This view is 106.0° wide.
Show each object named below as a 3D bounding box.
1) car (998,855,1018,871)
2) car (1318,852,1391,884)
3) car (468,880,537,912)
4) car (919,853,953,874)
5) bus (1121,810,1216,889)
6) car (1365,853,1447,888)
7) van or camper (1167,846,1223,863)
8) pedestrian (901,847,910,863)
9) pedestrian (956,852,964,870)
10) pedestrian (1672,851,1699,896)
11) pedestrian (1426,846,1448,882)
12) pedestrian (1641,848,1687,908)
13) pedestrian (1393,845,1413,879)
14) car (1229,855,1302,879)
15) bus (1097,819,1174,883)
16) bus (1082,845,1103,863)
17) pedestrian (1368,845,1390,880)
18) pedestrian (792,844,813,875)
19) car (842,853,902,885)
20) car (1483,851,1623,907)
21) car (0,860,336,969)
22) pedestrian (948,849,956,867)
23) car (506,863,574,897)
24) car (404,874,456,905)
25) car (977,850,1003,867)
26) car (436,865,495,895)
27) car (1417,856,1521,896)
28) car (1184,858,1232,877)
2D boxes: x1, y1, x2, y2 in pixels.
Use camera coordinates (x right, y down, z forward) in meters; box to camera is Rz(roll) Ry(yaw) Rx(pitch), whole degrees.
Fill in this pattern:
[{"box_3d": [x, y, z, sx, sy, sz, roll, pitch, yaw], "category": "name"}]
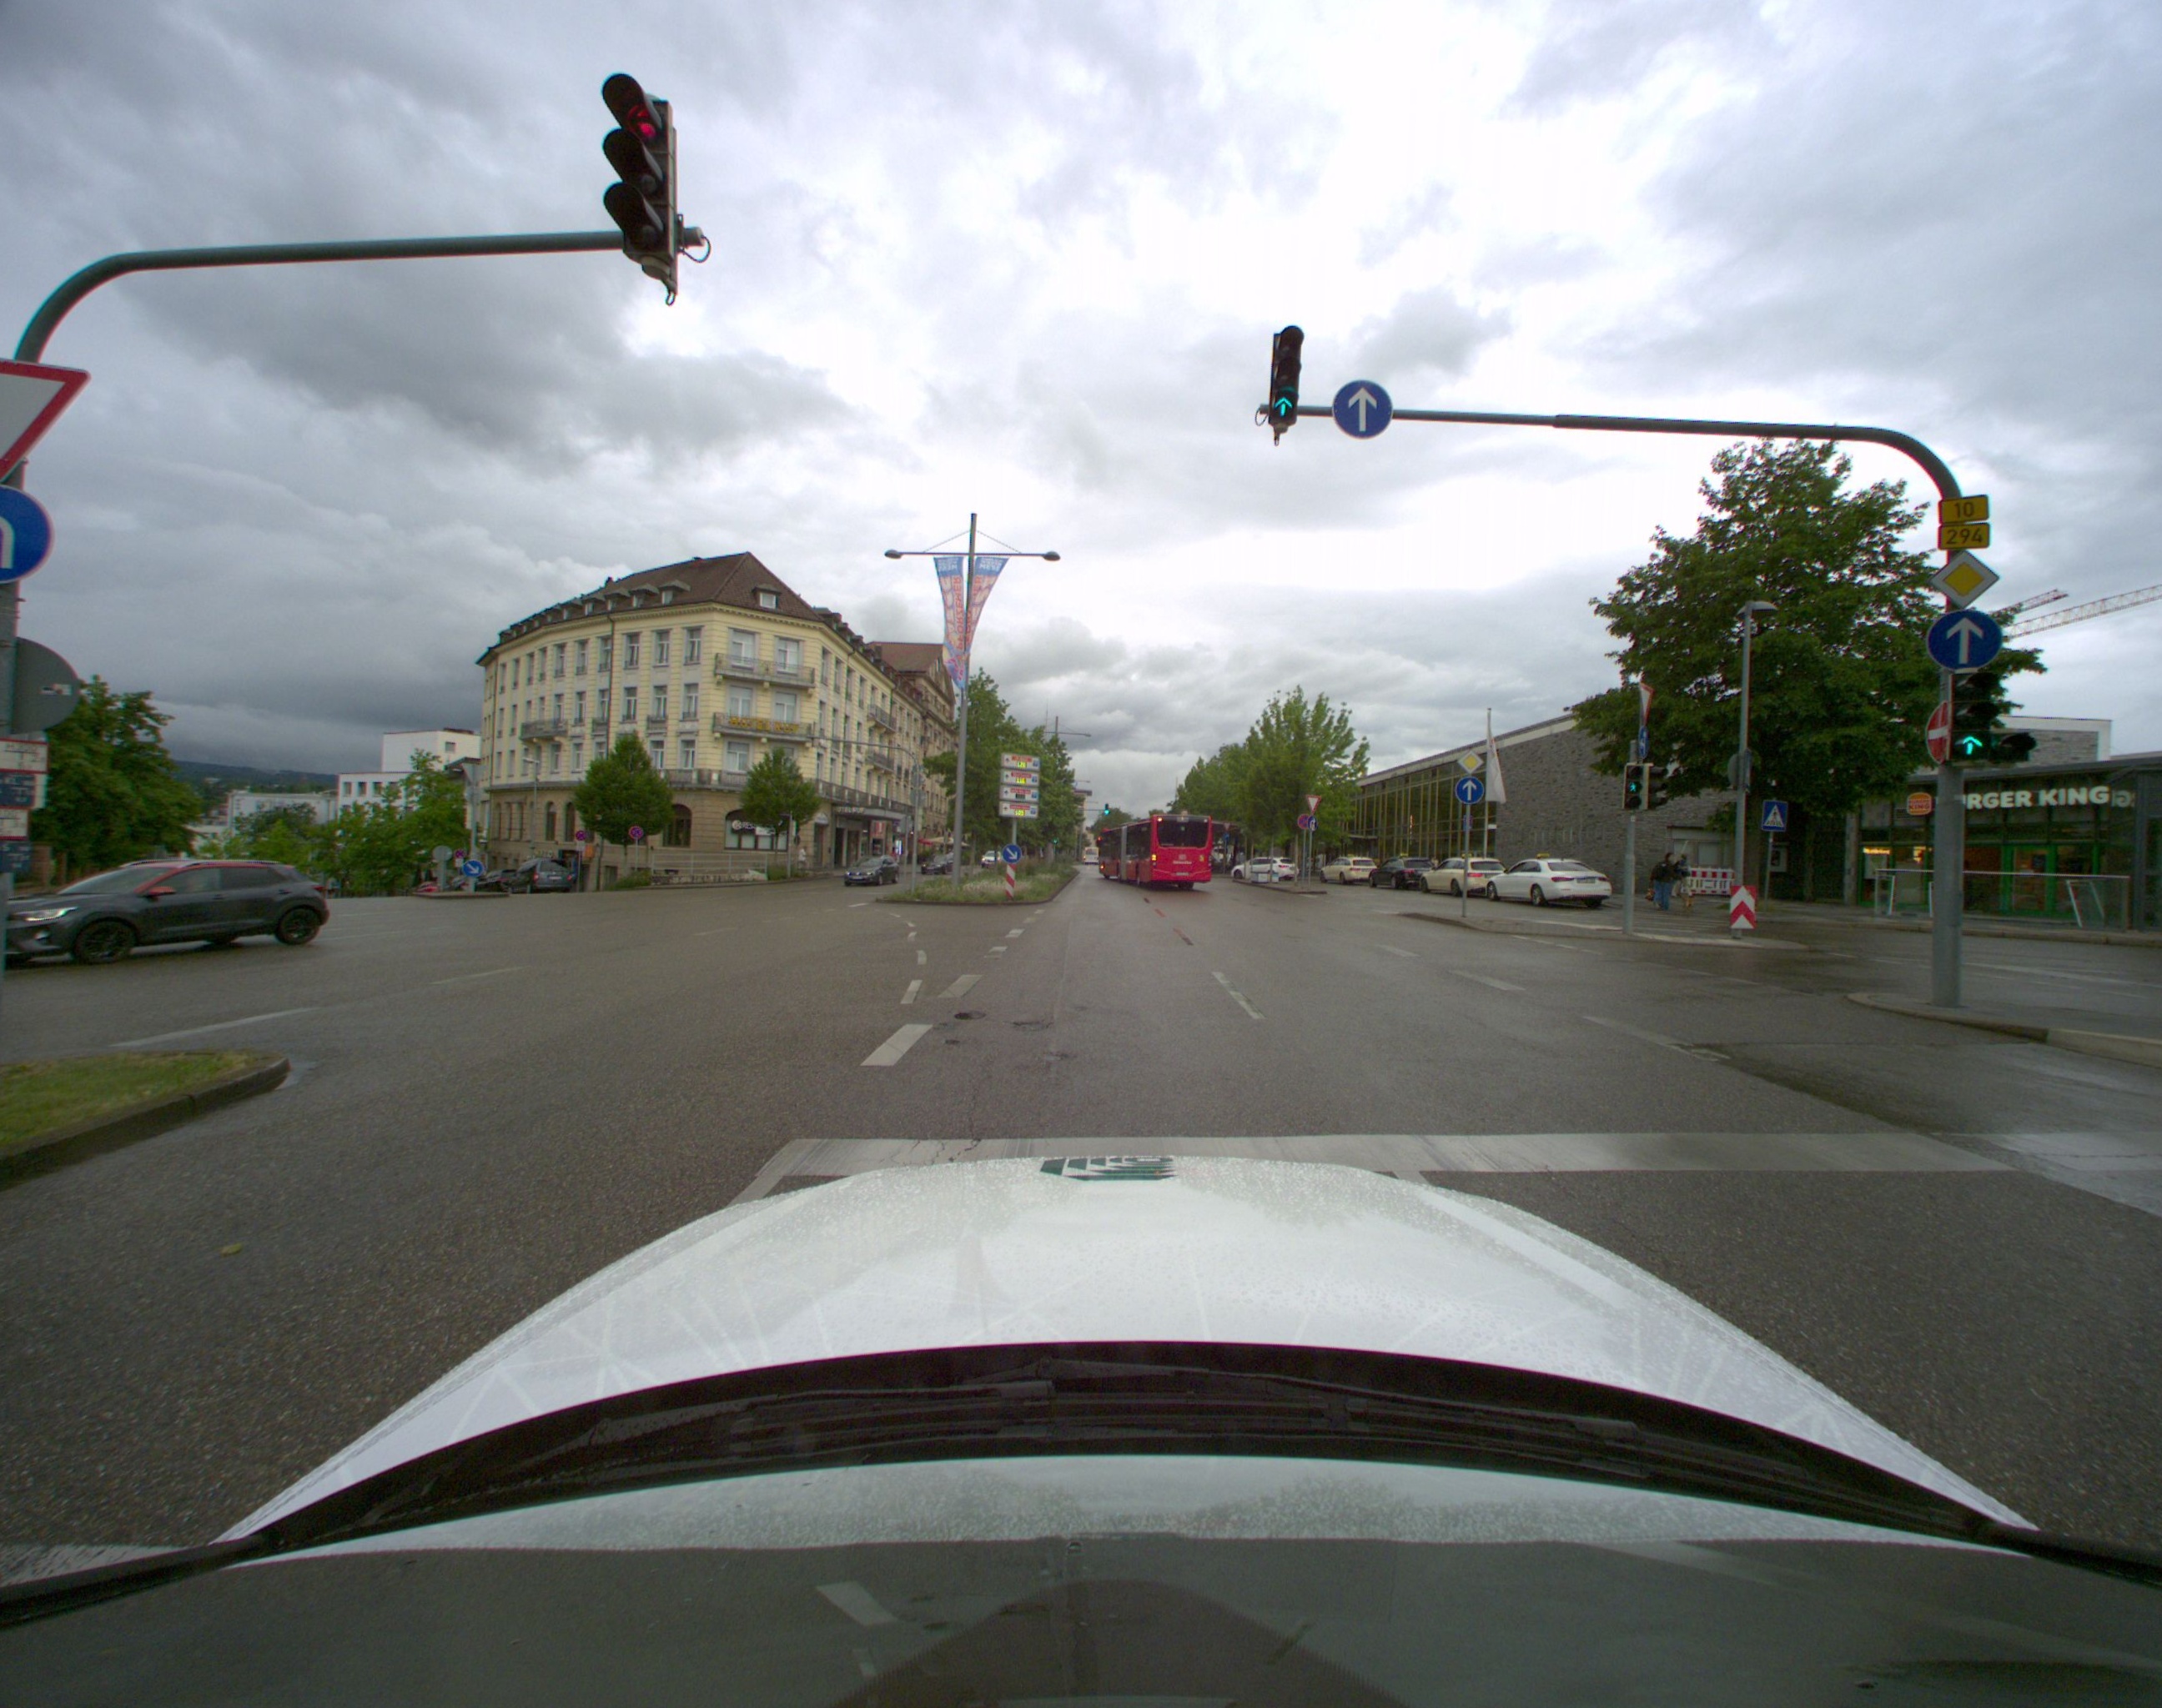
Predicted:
[{"box_3d": [-8.000, 0.955, 89.761, 1.989, 1.758, 3.995, 0, 0, -3], "category": "car"}, {"box_3d": [14.690, 0.716, 44.090, 1.990, 1.600, 4.814, 0, 0, -5], "category": "car"}, {"box_3d": [-31.962, 2.274, 44.981, 3.948, 1.640, 2.013, -1, -1, 37], "category": "car"}, {"box_3d": [-10.302, 0.650, 57.977, 1.750, 1.369, 4.058, 0, 1, -1], "category": "car"}, {"box_3d": [3.714, -0.168, 36.688, 2.739, 3.174, 8.105, 0, 0, -5], "category": "bus"}, {"box_3d": [14.893, 0.714, 37.596, 1.907, 1.524, 4.741, 0, 0, 0], "category": "car"}, {"box_3d": [14.398, 0.088, 102.765, 6.787, 2.014, 2.366, 0, -1, -25], "category": "van or camper"}, {"box_3d": [-16.249, 0.093, 75.227, 0.666, 1.510, 0.513, 0, -1, -36], "category": "pedestrian"}, {"box_3d": [-11.534, 0.624, 77.655, 0.672, 1.701, 0.634, 0, 0, 1], "category": "pedestrian"}, {"box_3d": [22.195, 0.712, 29.905, 0.558, 1.633, 0.566, 0, 0, 0], "category": "pedestrian"}, {"box_3d": [19.816, 0.548, 45.365, 0.808, 2.014, 0.921, 0, 0, 1], "category": "pedestrian"}, {"box_3d": [16.421, 0.661, 22.939, 0.805, 1.674, 0.713, 0, 0, 1], "category": "pedestrian"}, {"box_3d": [18.935, 0.466, 47.920, 0.808, 2.014, 0.922, 0, 0, 2], "category": "pedestrian"}, {"box_3d": [11.494, 0.789, 50.938, 1.788, 1.385, 4.318, 0, 0, -39], "category": "car"}, {"box_3d": [2.820, -0.139, 45.490, 2.739, 3.174, 10.175, 0, 0, -5], "category": "bus"}, {"box_3d": [2.054, 0.035, 156.016, 3.748, 3.209, 15.523, 0, 0, 0], "category": "bus"}, {"box_3d": [17.320, 0.479, 47.289, 0.814, 2.014, 0.914, 1, 0, -22], "category": "pedestrian"}, {"box_3d": [-16.945, 0.337, 49.602, 0.860, 1.878, 1.023, 0, 0, 1], "category": "pedestrian"}, {"box_3d": [-10.500, 0.724, 41.191, 1.747, 1.440, 4.065, 0, 2, 4], "category": "car"}, {"box_3d": [14.655, 0.723, 25.651, 1.768, 1.589, 4.615, 0, 0, 0], "category": "car"}, {"box_3d": [-14.903, 0.848, 13.180, 1.621, 1.476, 4.037, -1, 0, 9], "category": "car"}, {"box_3d": [-12.295, 0.402, 77.644, 0.573, 1.732, 0.609, 0, 0, 1], "category": "pedestrian"}, {"box_3d": [-27.093, 1.274, 40.764, 3.949, 1.568, 1.812, 0, 0, 41], "category": "car"}, {"box_3d": [-41.180, 2.212, 51.486, 3.575, 1.812, 1.788, 0, 0, 38], "category": "car"}, {"box_3d": [-8.523, 0.440, 76.501, 1.747, 1.369, 4.066, 0, 3, 4], "category": "car"}, {"box_3d": [-36.304, 1.495, 48.026, 3.864, 1.640, 1.805, 0, 0, 37], "category": "car"}, {"box_3d": [14.794, 0.789, 31.370, 1.840, 1.452, 4.666, 0, 0, 0], "category": "car"}, {"box_3d": [12.829, 1.390, 82.133, 4.348, 1.857, 1.988, 0, 0, -18], "category": "car"}]
